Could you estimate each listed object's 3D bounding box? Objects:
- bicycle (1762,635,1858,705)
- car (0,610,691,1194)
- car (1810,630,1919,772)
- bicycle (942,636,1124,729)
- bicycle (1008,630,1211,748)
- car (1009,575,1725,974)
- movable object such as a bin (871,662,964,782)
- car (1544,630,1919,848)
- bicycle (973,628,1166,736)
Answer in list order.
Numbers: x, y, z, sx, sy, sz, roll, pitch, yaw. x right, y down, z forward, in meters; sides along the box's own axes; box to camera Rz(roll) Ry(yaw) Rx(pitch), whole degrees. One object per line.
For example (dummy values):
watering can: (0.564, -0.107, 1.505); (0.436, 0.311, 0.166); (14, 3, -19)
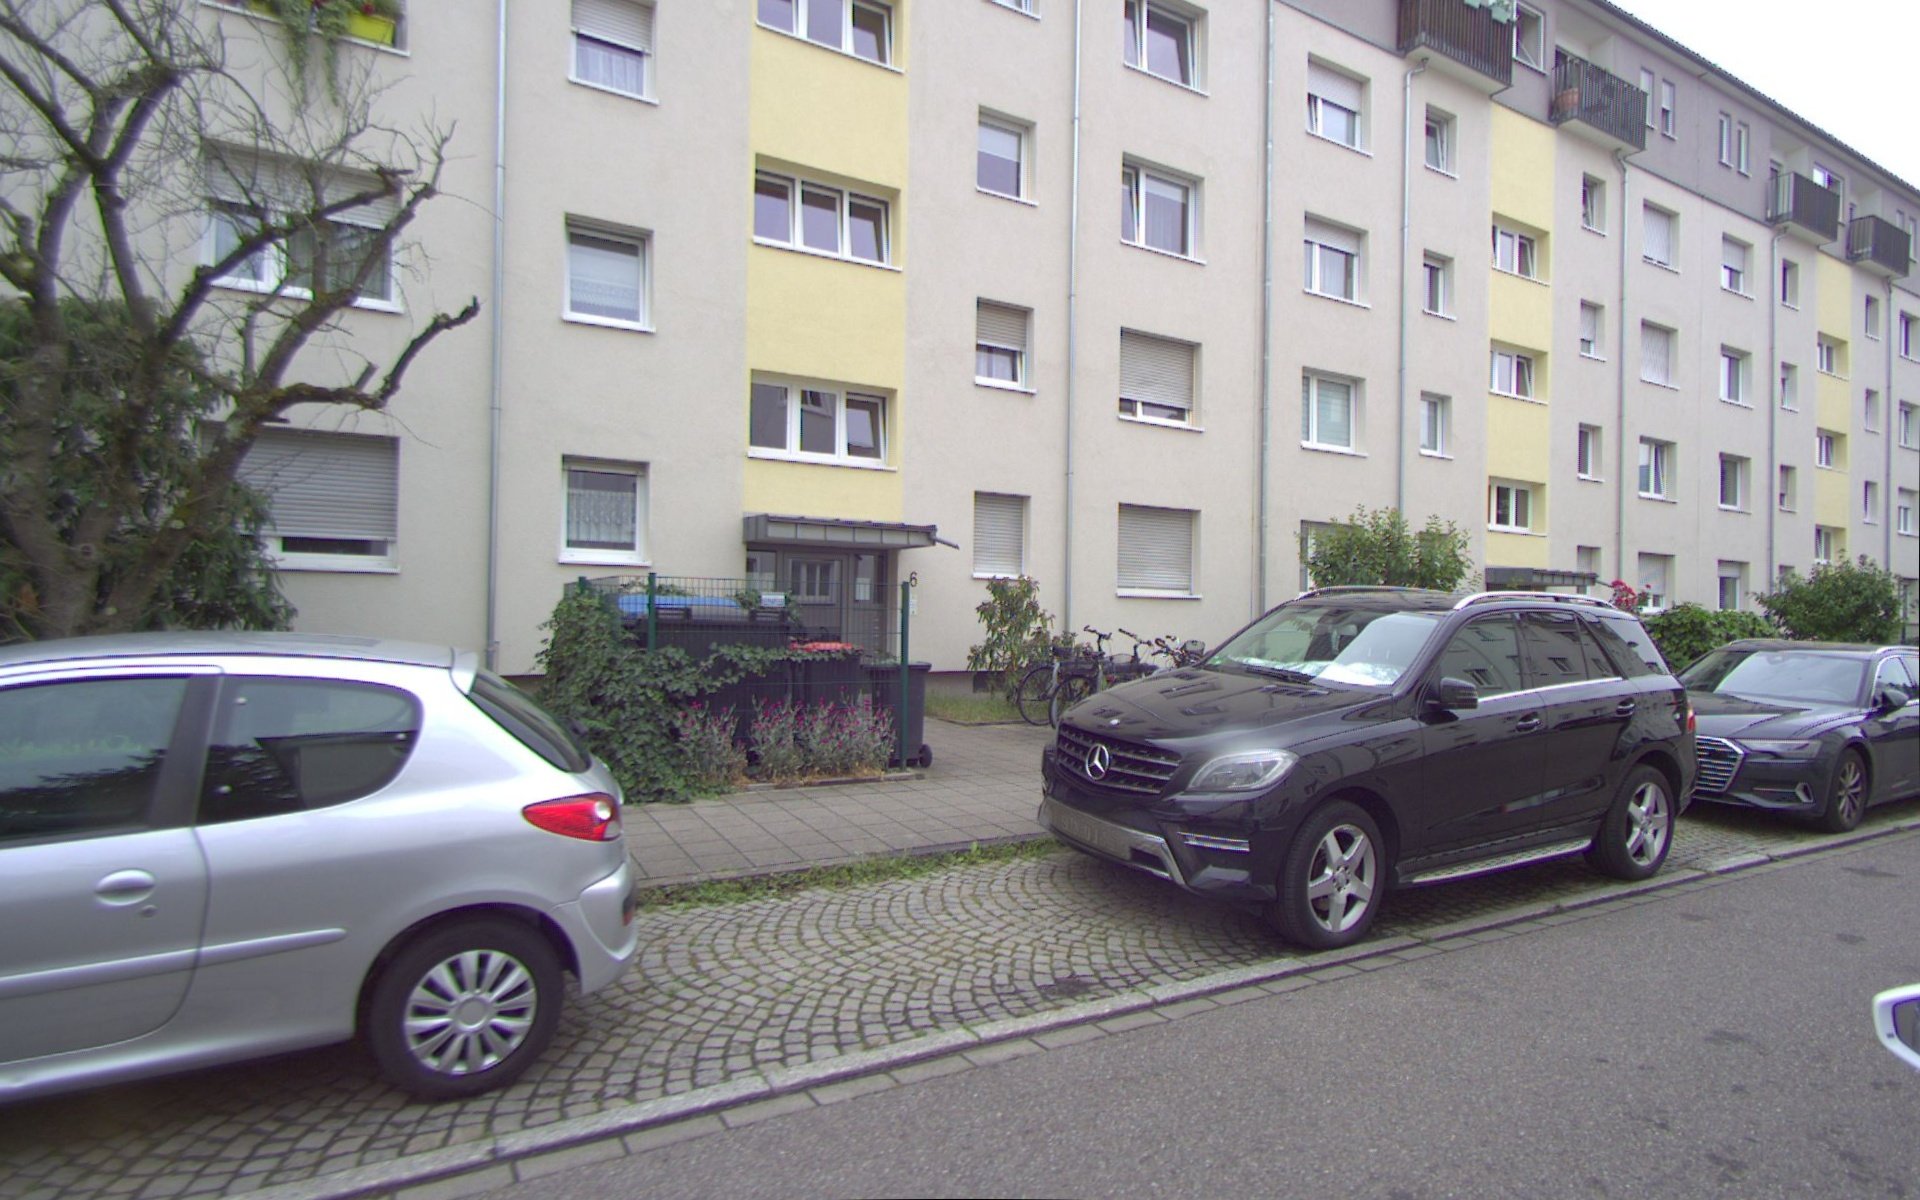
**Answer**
bicycle: (15.878, 1.280, 18.743); (2.066, 1.227, 0.728); (1, 0, -31)
car: (-3.001, 0.804, 3.350); (3.741, 1.484, 1.736); (1, 1, -30)
car: (12.264, 1.162, 11.937); (4.468, 1.472, 1.886); (1, 1, -30)
bicycle: (0.963, 1.017, 12.955); (2.327, 1.095, 0.785); (1, -1, -30)
bicycle: (1.734, 0.961, 11.466); (2.327, 1.228, 0.785); (1, -1, -30)
car: (2.693, 0.802, 6.404); (4.422, 1.763, 1.886); (1, 1, -30)
movable object such as a bin: (-0.369, 1.029, 8.680); (0.628, 0.967, 0.548); (1, -2, -30)
car: (7.664, 1.078, 9.254); (4.611, 1.472, 1.886); (1, 1, -30)
bicycle: (1.357, 0.947, 12.208); (2.327, 1.201, 0.785); (1, -1, -30)
